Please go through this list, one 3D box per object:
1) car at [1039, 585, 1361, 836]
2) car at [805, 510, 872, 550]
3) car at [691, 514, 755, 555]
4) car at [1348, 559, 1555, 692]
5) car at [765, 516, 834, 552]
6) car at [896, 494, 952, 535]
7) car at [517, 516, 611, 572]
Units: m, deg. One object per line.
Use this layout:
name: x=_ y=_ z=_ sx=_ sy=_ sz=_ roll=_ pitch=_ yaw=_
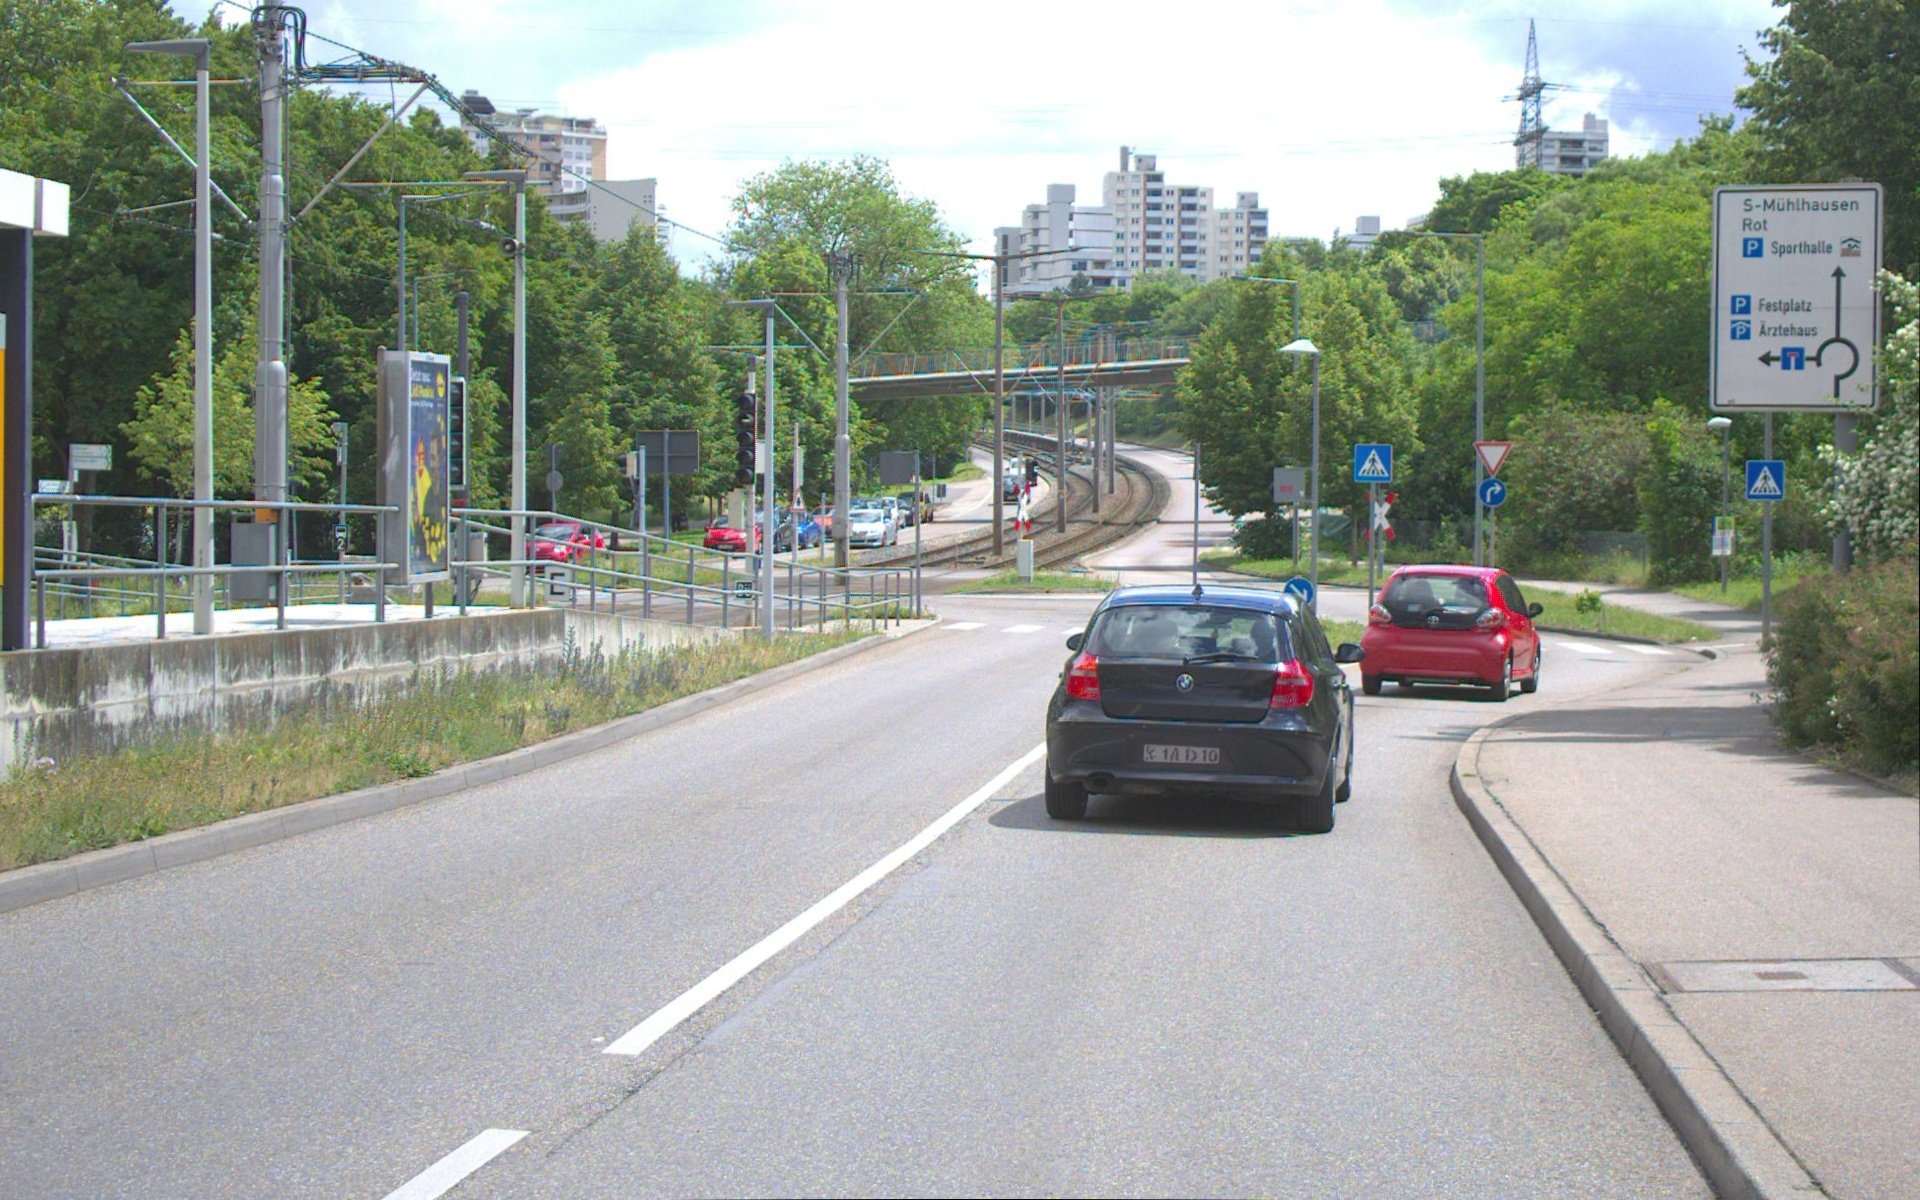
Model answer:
car: x=1.589 y=0.617 z=21.493 sx=1.816 sy=1.416 sz=3.999 roll=0 pitch=0 yaw=7
car: x=-4.874 y=-2.830 z=138.390 sx=1.913 sy=1.555 sz=3.999 roll=1 pitch=2 yaw=9
car: x=-8.084 y=-2.238 z=117.577 sx=1.528 sy=1.366 sz=3.596 roll=1 pitch=2 yaw=7
car: x=5.561 y=0.251 z=38.598 sx=1.767 sy=1.427 sz=3.476 roll=0 pitch=1 yaw=17
car: x=-5.970 y=-2.481 z=128.209 sx=1.807 sy=1.249 sz=3.567 roll=1 pitch=2 yaw=10
car: x=-1.705 y=-4.116 z=164.781 sx=1.994 sy=1.856 sz=3.999 roll=1 pitch=2 yaw=10
car: x=-10.921 y=-1.566 z=95.041 sx=1.720 sy=1.497 sz=2.965 roll=1 pitch=2 yaw=12
